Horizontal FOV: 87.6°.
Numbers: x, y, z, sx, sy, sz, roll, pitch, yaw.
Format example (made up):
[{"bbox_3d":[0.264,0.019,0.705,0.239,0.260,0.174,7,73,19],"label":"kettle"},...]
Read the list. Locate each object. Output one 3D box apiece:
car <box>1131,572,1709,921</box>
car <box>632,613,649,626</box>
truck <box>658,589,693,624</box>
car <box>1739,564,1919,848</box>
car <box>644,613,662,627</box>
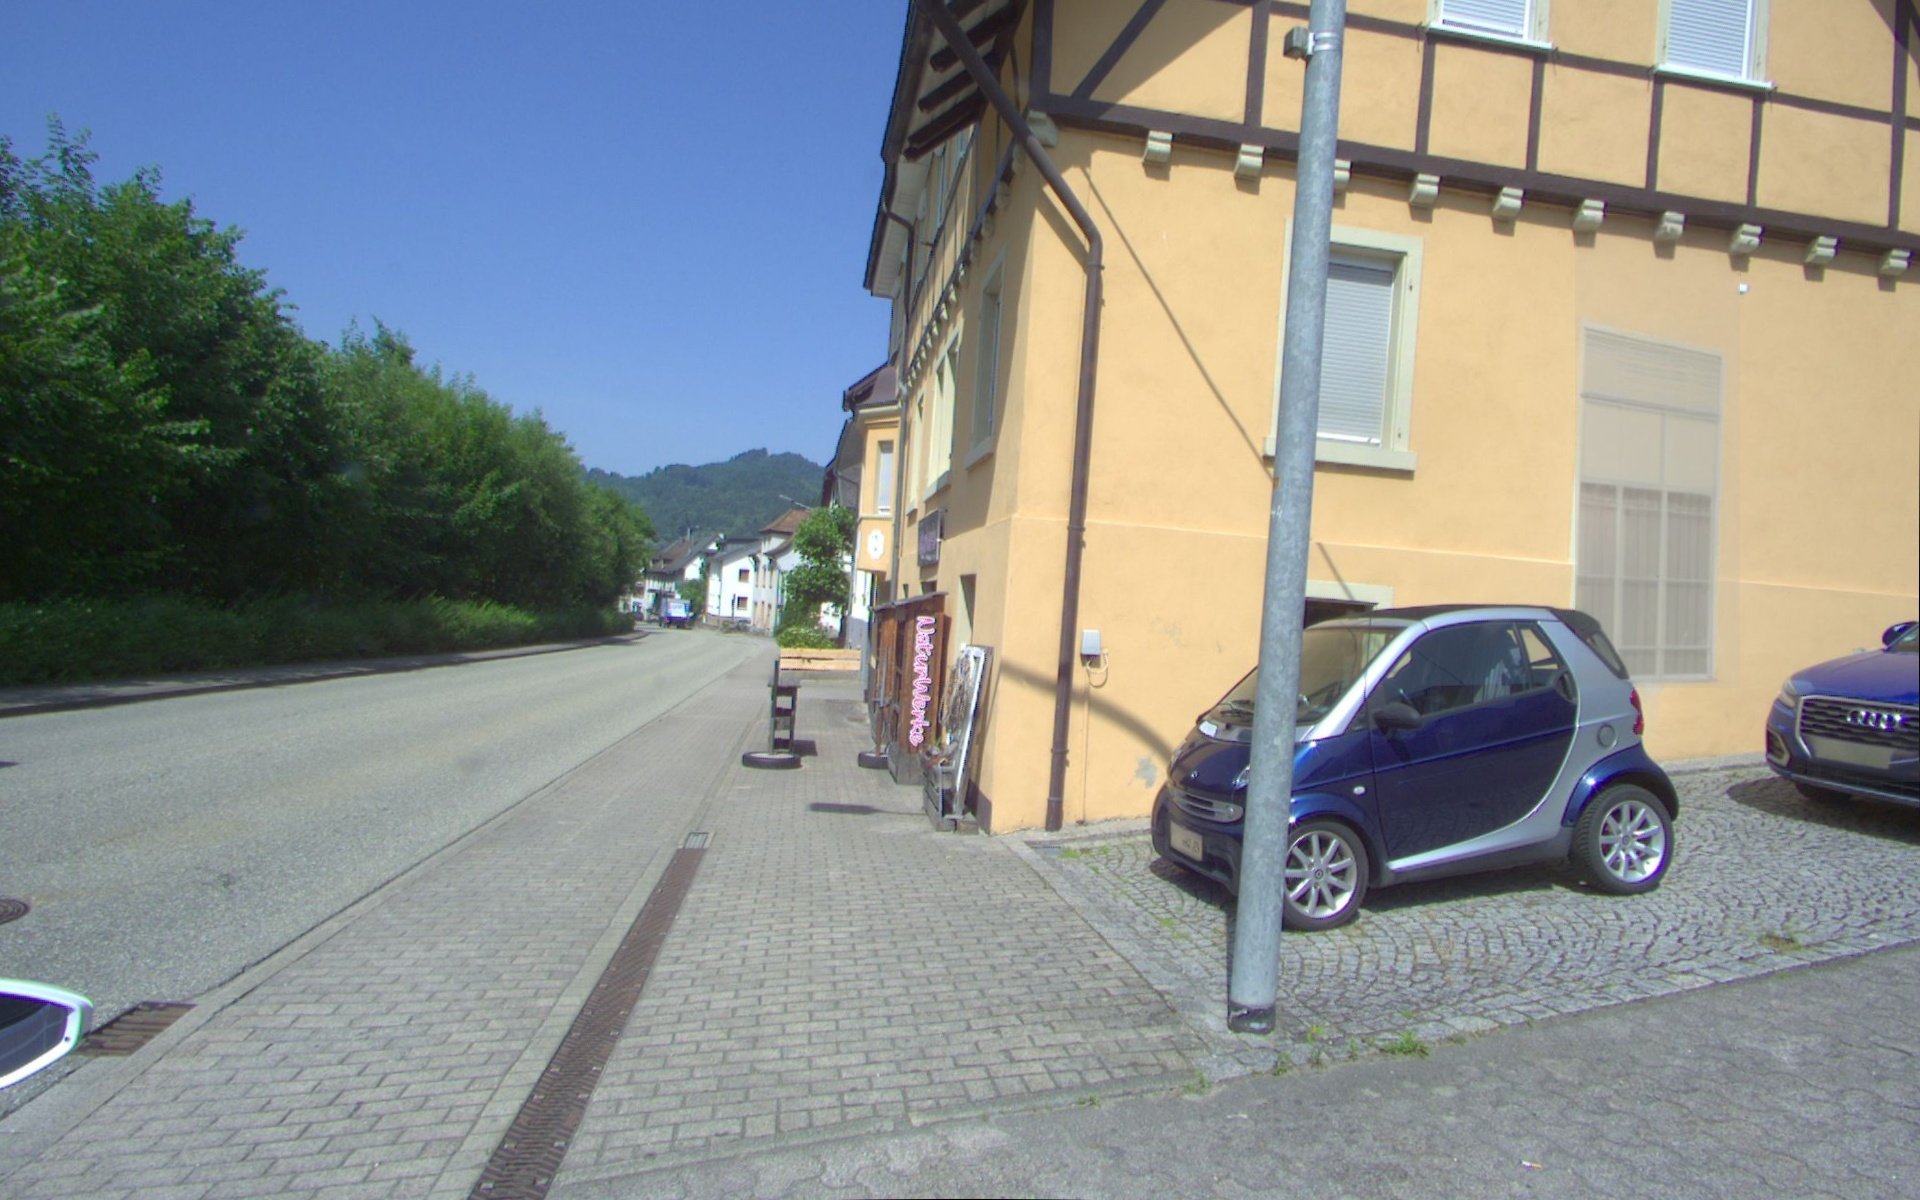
[{"bbox_3d":[2.501,0.710,5.705,2.613,1.556,1.424,-2,-1,-13],"label":"car"},{"bbox_3d":[-48.964,2.969,153.221,1.969,1.905,3.986,1,-2,-25],"label":"car"},{"bbox_3d":[-33.187,0.815,116.646,3.317,3.830,8.422,0,-2,-20],"label":"truck"},{"bbox_3d":[7.389,0.630,6.450,3.863,1.646,1.733,0,0,-14],"label":"car"},{"bbox_3d":[-42.273,2.742,137.901,1.968,1.905,3.987,1,-2,-24],"label":"car"}]
